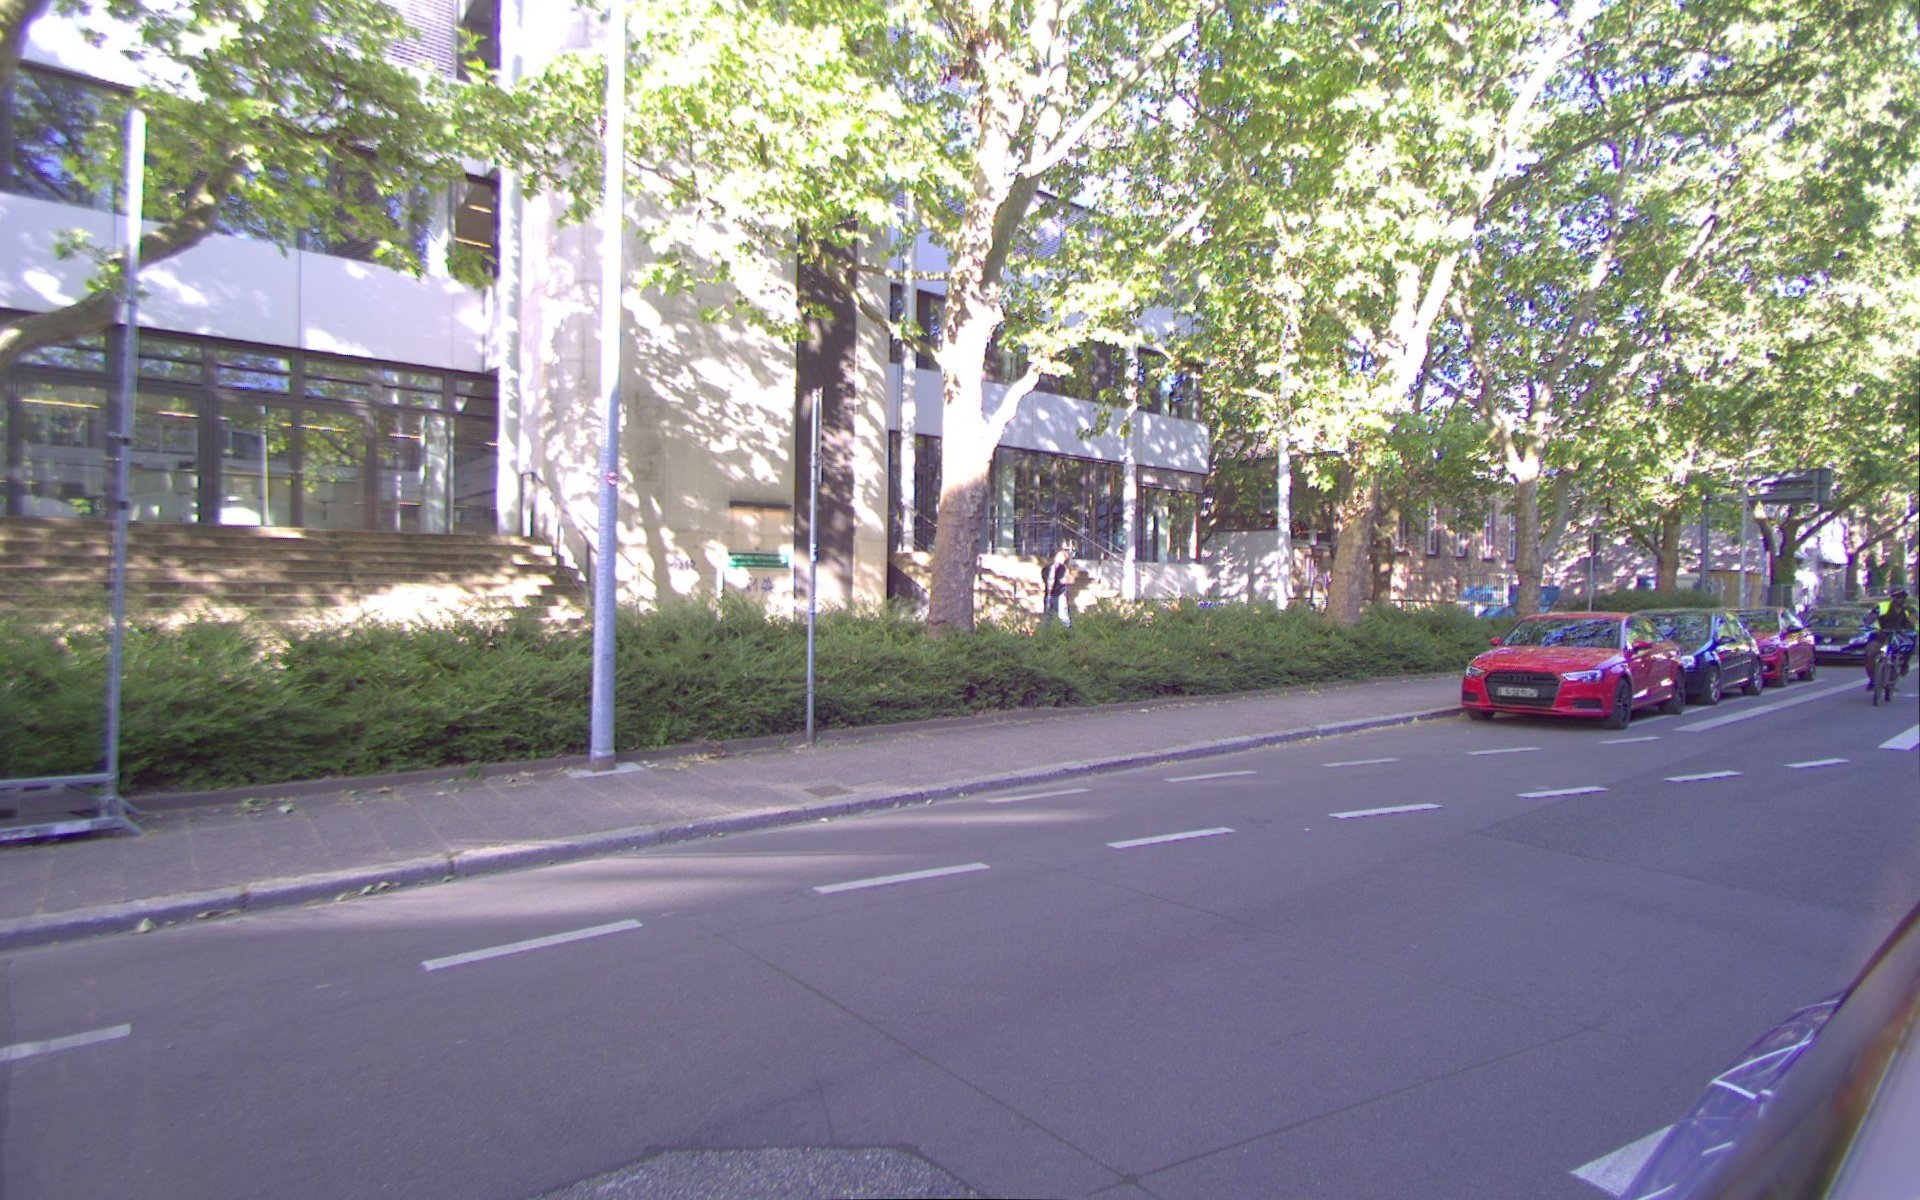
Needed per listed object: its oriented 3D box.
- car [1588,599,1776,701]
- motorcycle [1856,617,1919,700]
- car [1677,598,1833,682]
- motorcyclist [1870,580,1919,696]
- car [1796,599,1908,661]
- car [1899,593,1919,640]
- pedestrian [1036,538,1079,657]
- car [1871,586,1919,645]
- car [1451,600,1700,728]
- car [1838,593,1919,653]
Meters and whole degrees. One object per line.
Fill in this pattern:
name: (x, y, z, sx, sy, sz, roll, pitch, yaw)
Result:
car: (11.854, 0.727, 16.548, 3.632, 1.436, 1.668, -1, 0, -40)
motorcycle: (14.683, 0.873, 15.769, 2.197, 1.146, 0.798, -1, 0, -41)
car: (15.742, 0.704, 19.975, 3.854, 1.467, 1.691, -1, 0, -40)
motorcyclist: (14.807, 0.573, 15.864, 0.738, 1.765, 0.718, 0, 0, -41)
car: (22.946, 0.708, 25.991, 3.855, 1.441, 1.691, -1, 0, -41)
car: (35.533, 0.568, 36.788, 4.497, 1.633, 1.632, -1, 0, -41)
pedestrian: (1.714, -0.042, 17.769, 0.549, 2.039, 0.555, 0, 0, 38)
car: (31.170, 0.469, 33.017, 4.497, 1.814, 1.632, -1, 0, -41)
car: (8.300, 0.734, 13.518, 3.931, 1.409, 1.792, -1, 1, -42)
car: (26.632, 0.600, 29.048, 4.158, 1.598, 1.632, -1, 0, -41)
